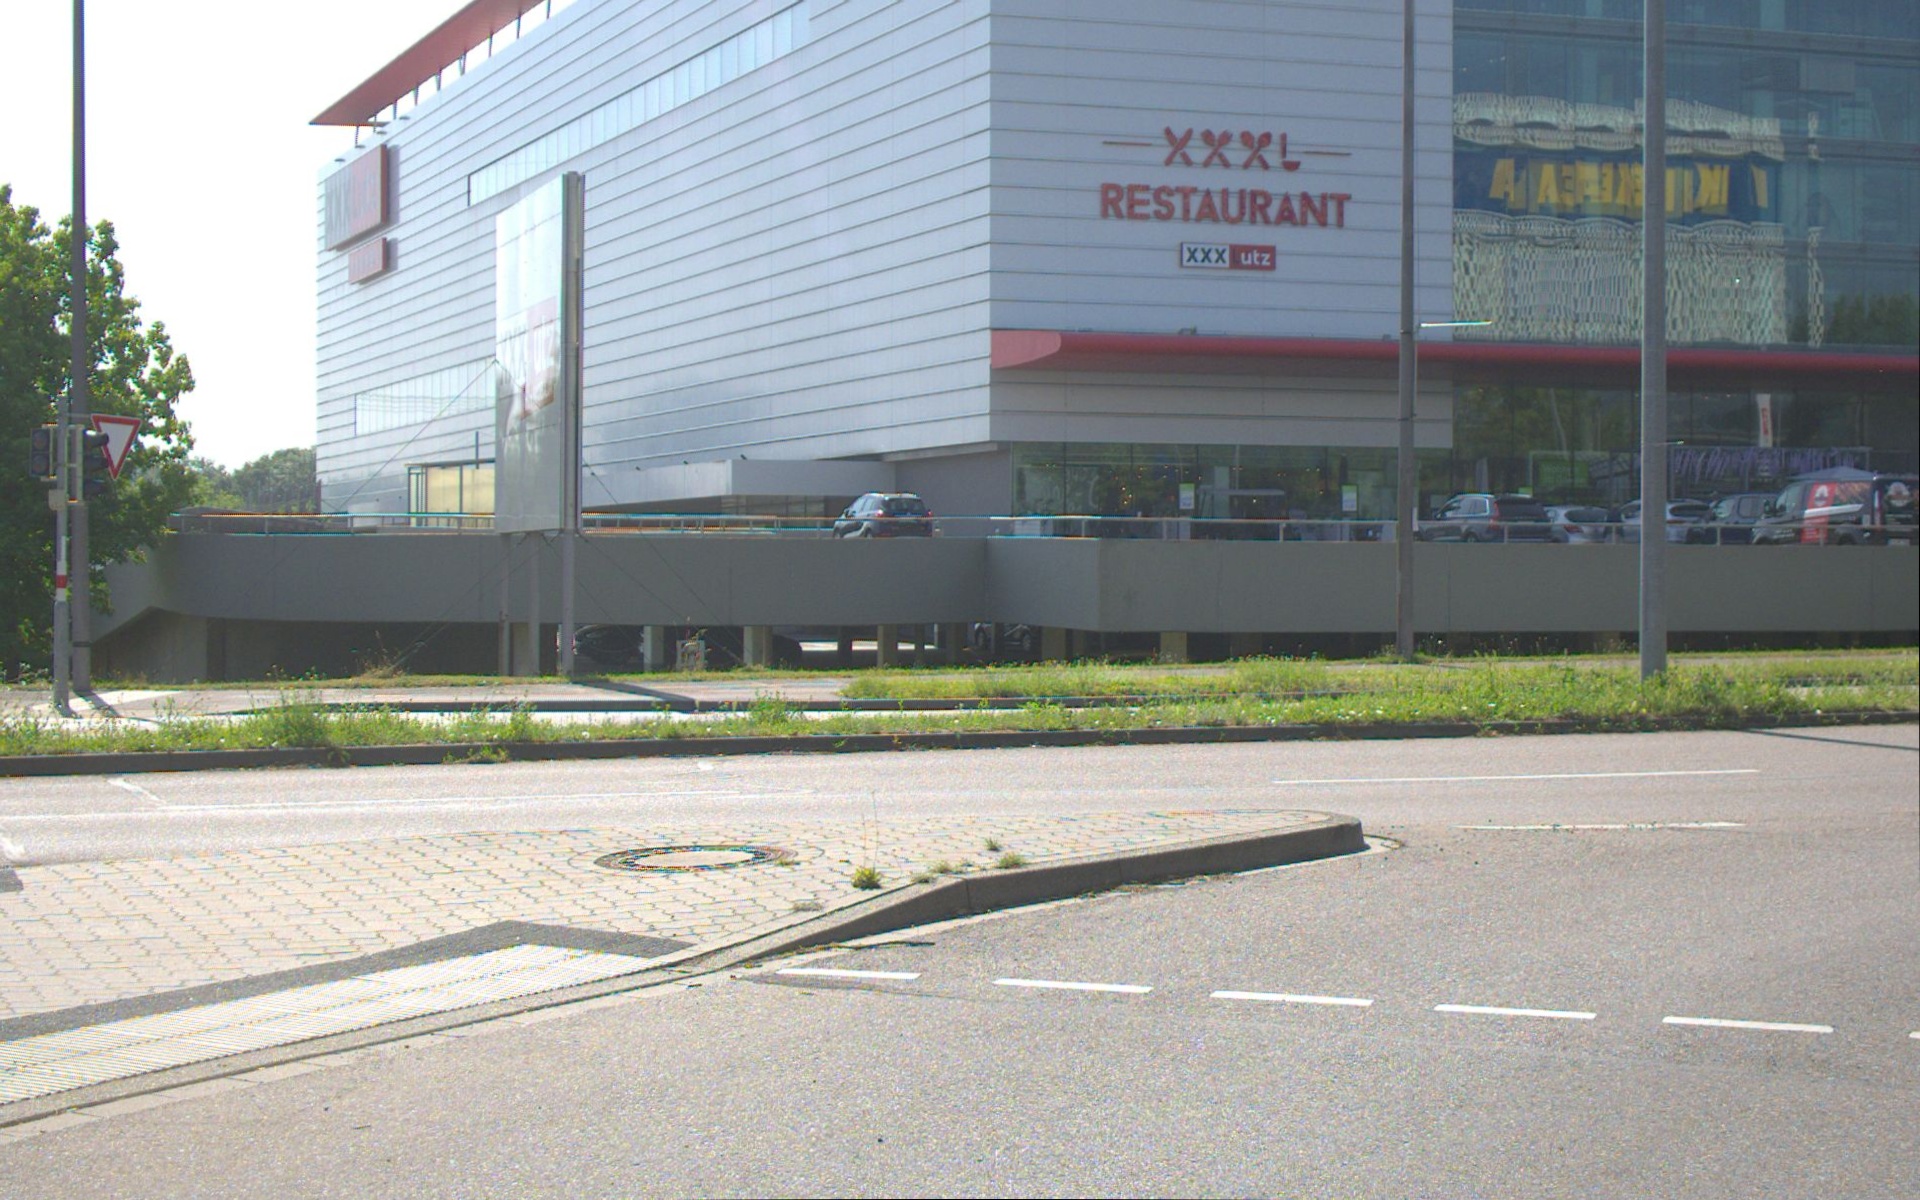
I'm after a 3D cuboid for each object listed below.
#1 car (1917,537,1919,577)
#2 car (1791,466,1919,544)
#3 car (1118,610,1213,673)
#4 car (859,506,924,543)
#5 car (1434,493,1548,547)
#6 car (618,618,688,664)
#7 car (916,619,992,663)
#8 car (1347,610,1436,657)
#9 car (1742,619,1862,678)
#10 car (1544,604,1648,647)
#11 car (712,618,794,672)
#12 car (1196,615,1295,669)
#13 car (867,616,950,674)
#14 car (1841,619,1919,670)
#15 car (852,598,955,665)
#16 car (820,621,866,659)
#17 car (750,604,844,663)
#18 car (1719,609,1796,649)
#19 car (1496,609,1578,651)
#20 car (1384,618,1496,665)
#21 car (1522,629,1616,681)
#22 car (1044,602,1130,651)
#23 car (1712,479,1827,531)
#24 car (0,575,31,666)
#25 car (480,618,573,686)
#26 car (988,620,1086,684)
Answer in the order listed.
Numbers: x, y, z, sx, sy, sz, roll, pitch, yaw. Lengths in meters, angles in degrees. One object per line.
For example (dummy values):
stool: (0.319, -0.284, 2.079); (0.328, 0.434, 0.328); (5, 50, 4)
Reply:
car: (24.625, -1.066, 84.614); (1.067, 0.972, 1.944); (-1, 1, -23)
car: (18.912, -1.959, 71.505); (1.768, 1.551, 2.776); (-1, 1, -27)
car: (3.009, 0.608, 50.366); (0.789, 0.879, 1.506); (1, 1, -23)
car: (-1.823, -2.003, 91.599); (1.067, 0.972, 1.944); (1, 1, -23)
car: (13.372, -2.000, 86.758); (1.510, 1.325, 3.022); (1, 1, -21)
car: (-6.901, 0.922, 77.220); (0.927, 0.972, 1.944); (1, 1, -26)
car: (-0.149, 0.944, 79.669); (1.067, 0.972, 1.944); (1, 1, -23)
car: (9.391, 0.719, 74.858); (1.067, 0.972, 1.944); (1, 1, -23)
car: (14.648, 0.833, 59.829); (1.067, 0.972, 1.944); (1, 1, -23)
car: (9.772, 0.384, 52.871); (0.855, 0.618, 1.564); (1, 1, -23)
car: (-4.221, 0.904, 70.010); (1.067, 1.036, 1.944); (-1, 1, -23)
car: (5.375, 0.785, 64.786); (1.067, 0.972, 1.944); (1, 1, -23)
car: (-0.923, 0.792, 61.039); (0.884, 0.972, 1.944); (1, 1, -20)
car: (18.917, 0.902, 69.688); (1.067, 0.972, 1.944); (1, 1, -23)
car: (-0.900, 0.484, 54.233); (1.067, 1.005, 1.944); (-1, 1, -19)
car: (-2.961, 1.008, 87.084); (0.753, 0.924, 1.290); (1, 1, -23)
car: (-2.862, 0.574, 60.212); (1.067, 0.972, 1.944); (-1, 1, -22)
car: (20.182, 0.723, 86.996); (0.918, 0.972, 1.944); (1, 1, -23)
car: (13.977, 0.719, 83.364); (1.067, 0.972, 1.944); (1, 1, -23)
car: (8.004, 0.687, 57.436); (0.904, 0.731, 2.088); (1, 1, -23)
car: (11.971, 1.080, 67.626); (0.907, 0.972, 1.944); (1, 1, -23)
car: (2.669, 0.552, 72.356); (1.067, 0.972, 1.944); (1, 1, -23)
car: (21.774, -2.541, 92.588); (1.510, 1.325, 3.098); (1, 1, -21)
car: (-19.987, 0.366, 66.061); (3.986, 1.728, 2.001); (1, 1, -19)
car: (-6.564, 0.776, 52.023); (0.886, 0.972, 1.944); (1, 1, -23)
car: (1.221, 0.826, 54.927); (0.863, 0.972, 1.849); (1, 1, -23)
